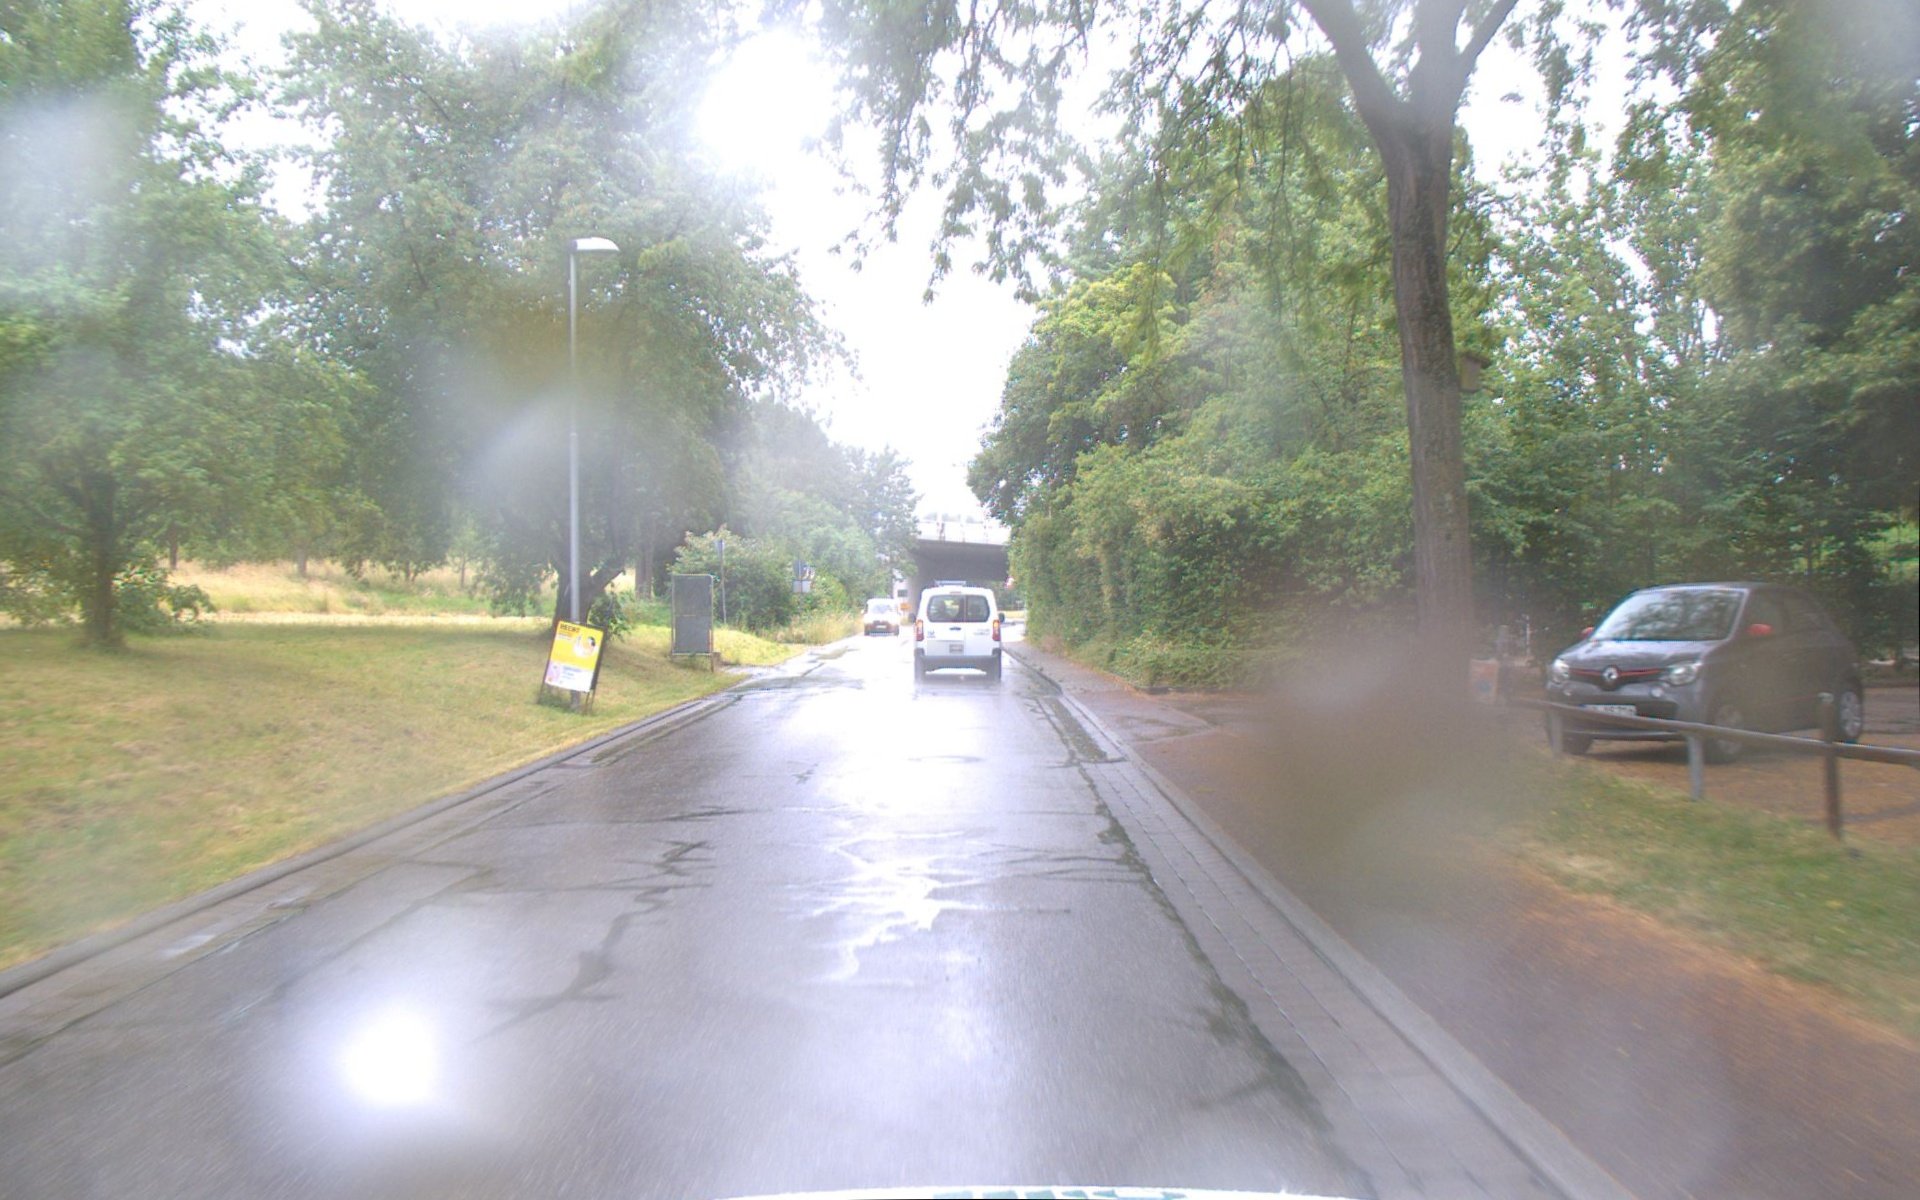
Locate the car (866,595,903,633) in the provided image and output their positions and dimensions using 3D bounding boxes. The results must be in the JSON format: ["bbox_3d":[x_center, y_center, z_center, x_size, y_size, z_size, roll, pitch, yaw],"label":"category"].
[{"bbox_3d":[-3.778,0.702,83.486,1.787,1.864,4.305,0,0,-2],"label":"car"}]

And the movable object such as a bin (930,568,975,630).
[{"bbox_3d":[-0.293,-0.041,71.559,1.724,2.592,4.240,1,0,2],"label":"movable object such as a bin"}]

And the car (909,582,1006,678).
[{"bbox_3d":[-0.043,0.562,34.260,1.858,1.838,4.000,-1,1,0],"label":"car"}]

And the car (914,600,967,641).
[{"bbox_3d":[-0.651,0.715,58.495,1.673,1.401,4.001,1,0,2],"label":"car"}]

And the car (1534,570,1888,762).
[{"bbox_3d":[7.052,0.545,15.416,3.578,1.578,1.599,0,-1,-40],"label":"car"}]
